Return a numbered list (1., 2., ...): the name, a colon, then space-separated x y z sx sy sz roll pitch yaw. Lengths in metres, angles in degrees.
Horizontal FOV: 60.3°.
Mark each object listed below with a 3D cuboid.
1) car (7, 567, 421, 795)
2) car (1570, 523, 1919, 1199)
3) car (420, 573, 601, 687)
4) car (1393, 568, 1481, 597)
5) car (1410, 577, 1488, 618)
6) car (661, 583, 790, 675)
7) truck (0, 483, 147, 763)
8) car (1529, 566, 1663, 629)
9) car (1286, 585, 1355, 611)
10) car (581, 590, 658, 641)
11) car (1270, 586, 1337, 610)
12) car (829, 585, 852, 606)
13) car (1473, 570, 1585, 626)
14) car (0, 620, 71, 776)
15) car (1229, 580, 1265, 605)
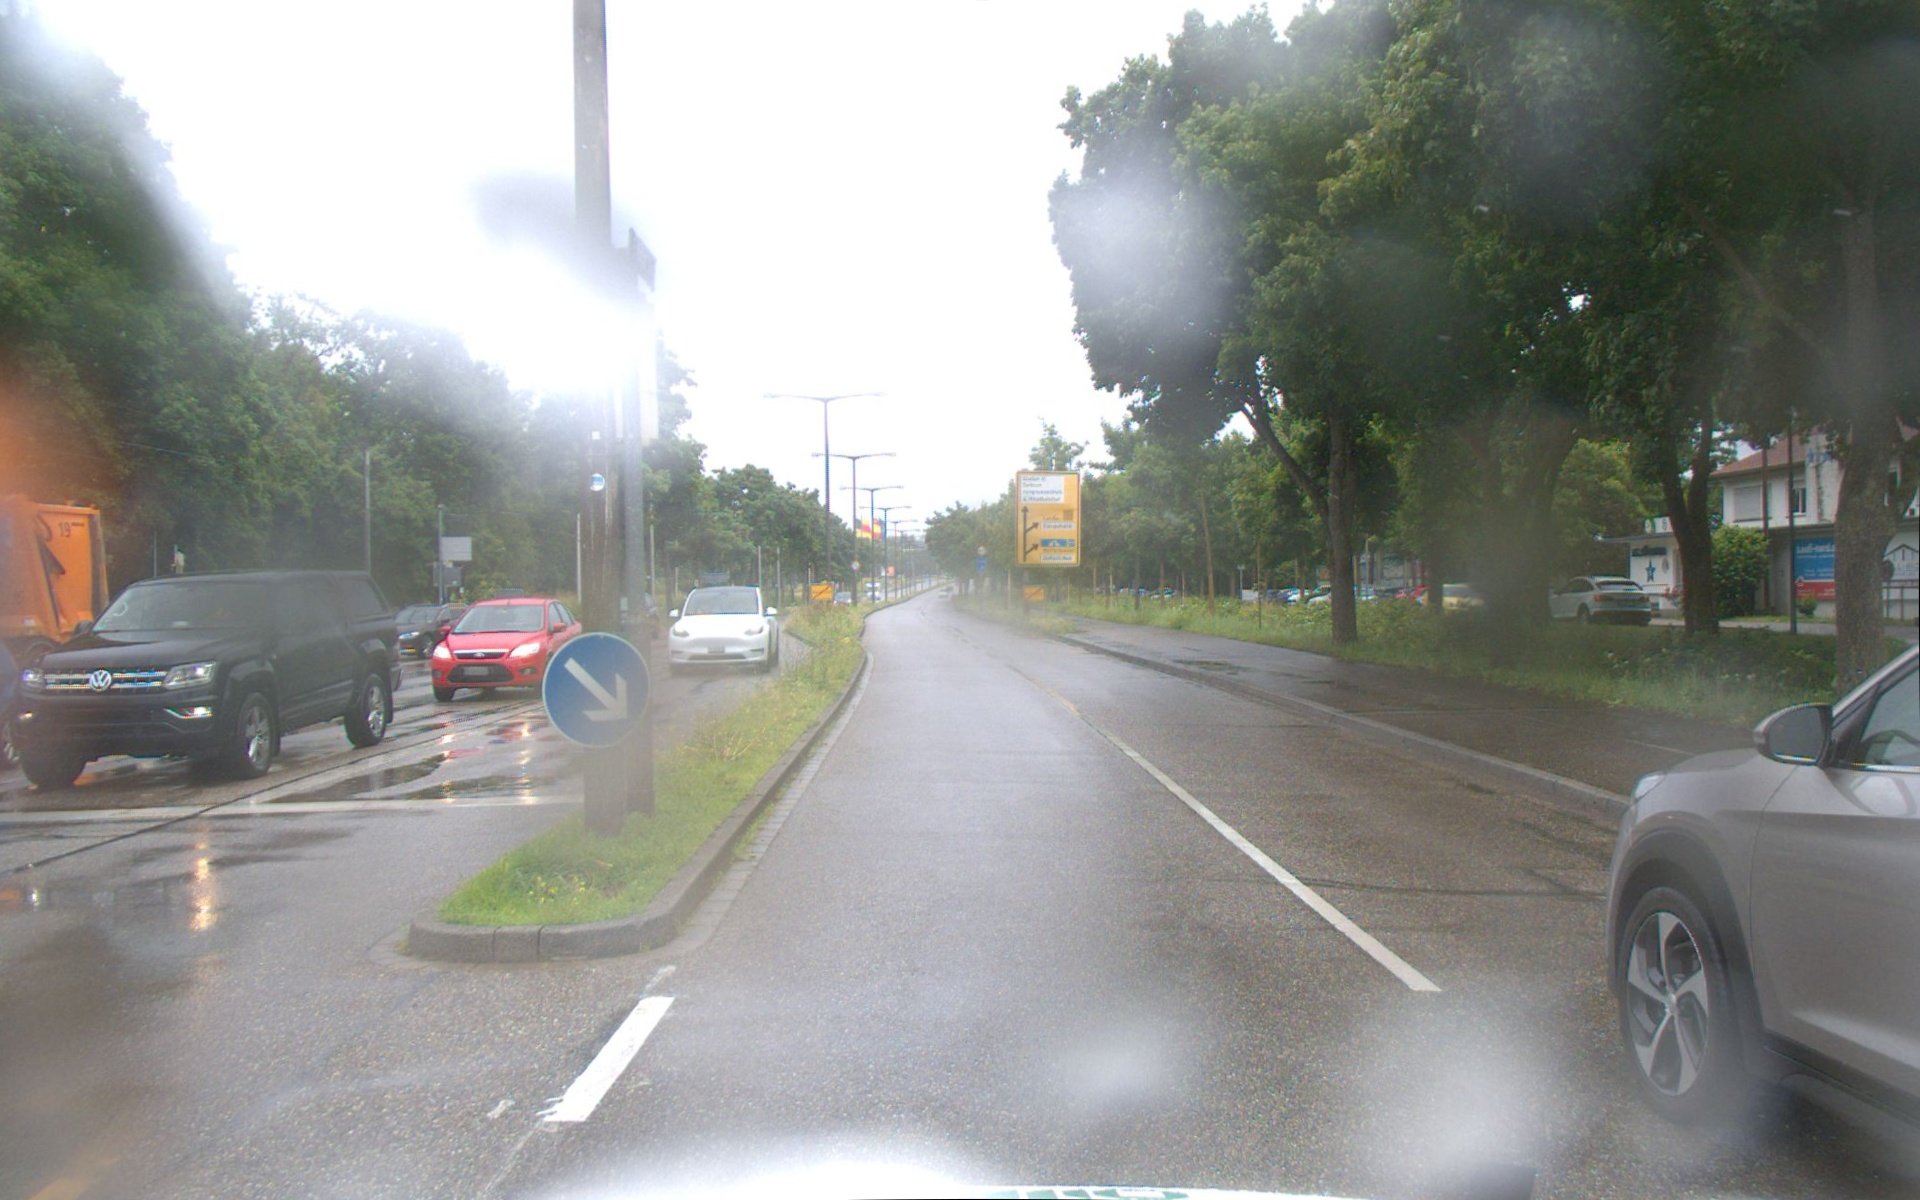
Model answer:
1. car: -6.957 0.644 16.140 1.769 1.804 5.088 -2 0 -1
2. car: 3.077 0.677 3.577 1.846 1.638 4.194 2 0 -2
3. car: -7.125 0.460 26.640 1.765 1.597 4.427 -2 0 -2
4. car: 26.339 -0.962 91.337 4.249 1.510 1.943 1 0 -5
5. car: 18.714 -0.095 63.504 1.604 1.512 4.070 1 0 -3
6. car: -4.513 0.504 32.478 1.921 1.645 4.696 -1 1 -1
7. truck: -16.190 0.326 24.381 3.316 4.240 10.404 1 0 -1
8. car: 19.180 -0.069 50.166 1.954 1.747 4.876 -1 0 -3
9. car: 25.937 -0.127 119.008 4.480 1.735 1.998 1 0 -5
10. car: -12.065 0.533 58.910 1.671 1.670 4.332 -2 0 1
11. car: 25.341 -0.127 122.022 4.482 1.673 1.997 1 0 -7
12. car: -10.028 -0.371 138.820 1.709 1.679 4.135 -3 1 -2
13. car: 19.112 -0.056 55.757 1.954 1.747 4.639 -1 0 -3
14. car: -9.813 0.966 14.851 1.608 1.452 3.997 -3 0 -3
15. car: 18.726 -0.513 108.018 1.708 1.470 4.123 -1 2 1
